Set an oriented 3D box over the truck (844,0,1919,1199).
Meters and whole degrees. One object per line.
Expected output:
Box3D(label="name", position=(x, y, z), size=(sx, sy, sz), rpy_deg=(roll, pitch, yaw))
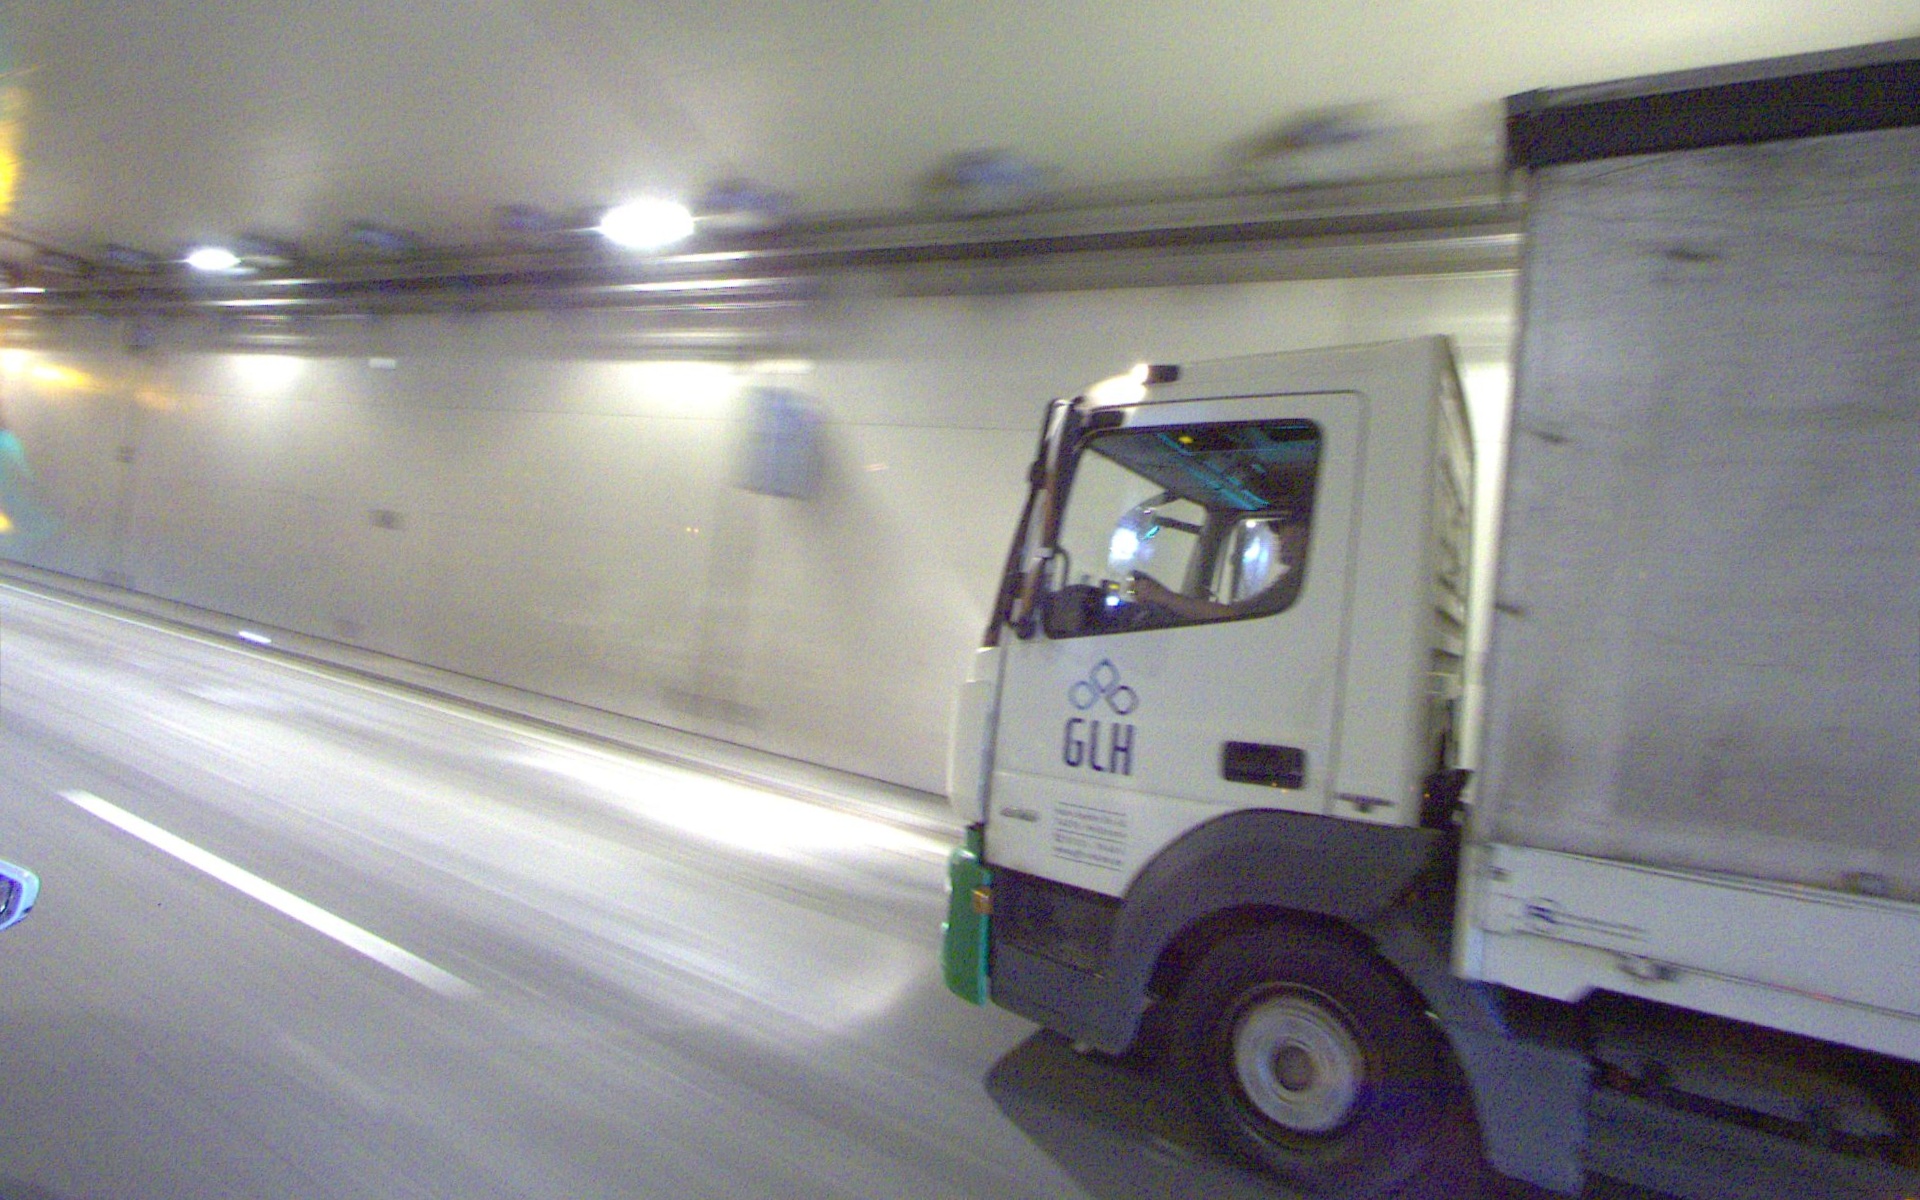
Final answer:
Box3D(label="truck", position=(3.491, 0.425, 2.751), size=(7.121, 3.219, 2.559), rpy_deg=(7, -1, 30))
